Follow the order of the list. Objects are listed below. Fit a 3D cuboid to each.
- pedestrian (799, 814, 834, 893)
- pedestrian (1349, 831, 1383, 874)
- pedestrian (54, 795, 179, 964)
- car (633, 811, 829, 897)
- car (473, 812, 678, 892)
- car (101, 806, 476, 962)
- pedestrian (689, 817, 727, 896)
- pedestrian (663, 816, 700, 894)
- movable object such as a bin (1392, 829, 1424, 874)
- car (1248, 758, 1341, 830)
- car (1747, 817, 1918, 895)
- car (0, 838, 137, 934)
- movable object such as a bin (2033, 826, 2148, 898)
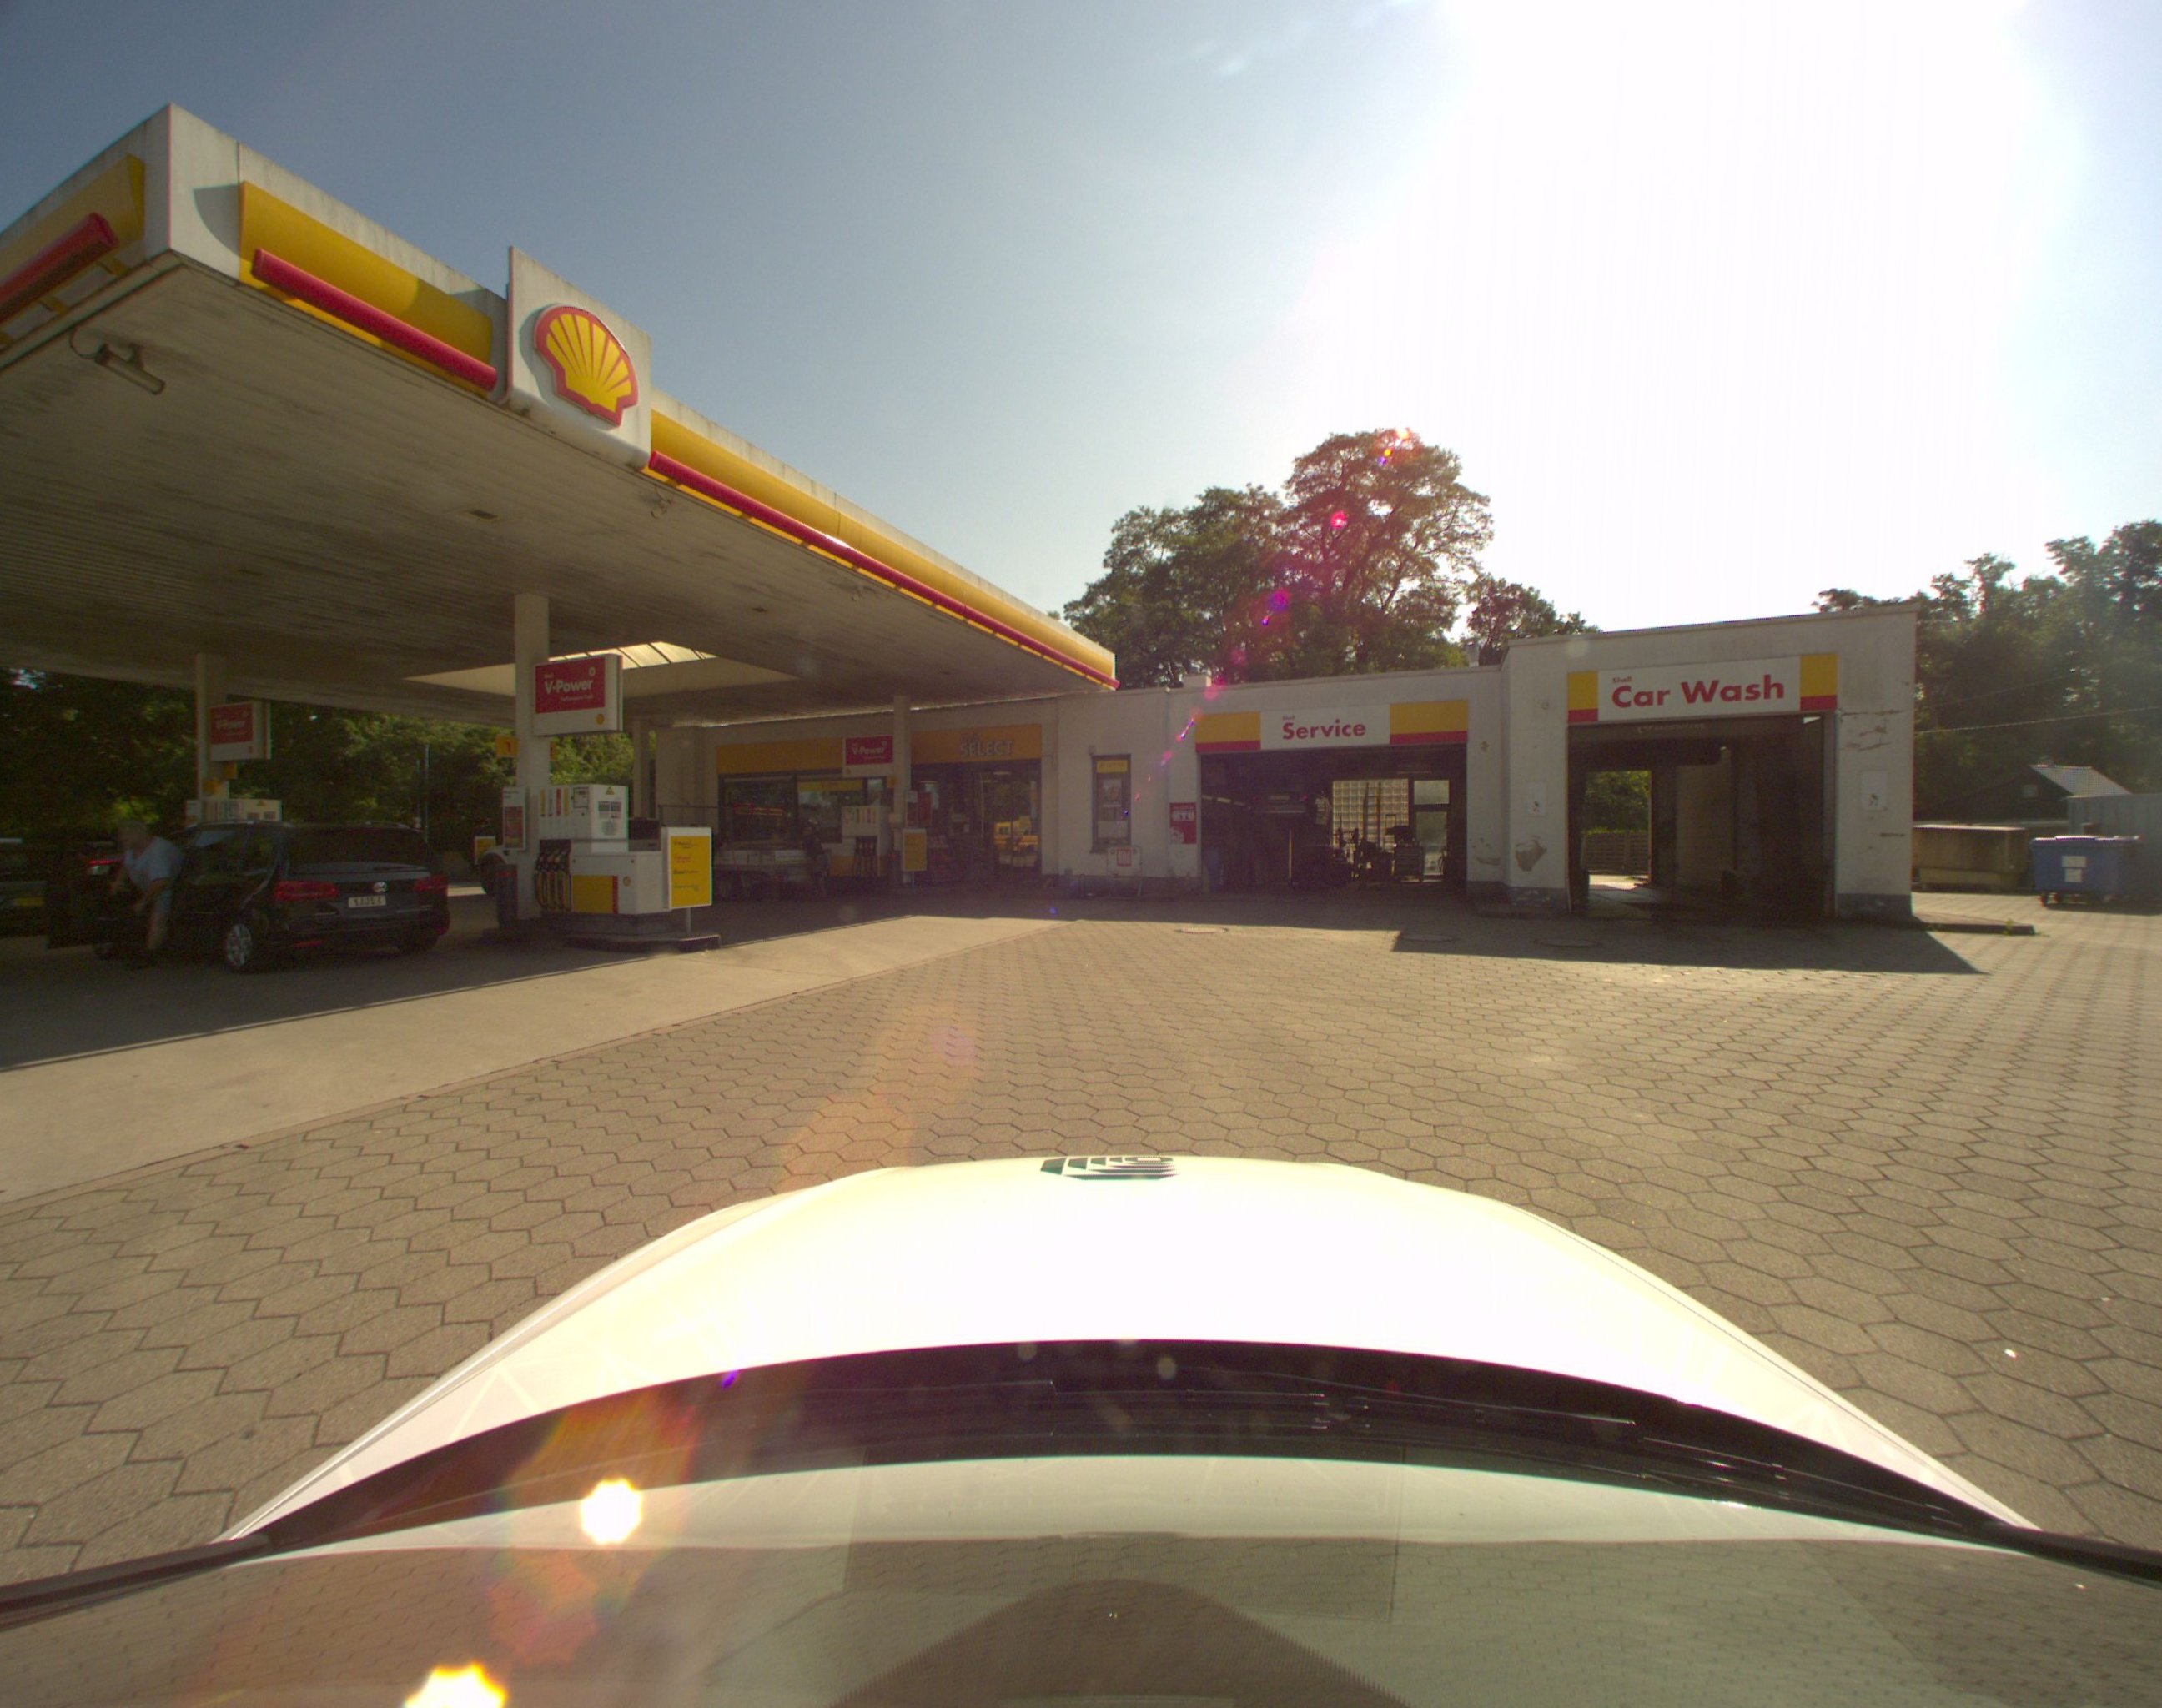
[{"bbox_3d":[-5.650,-0.014,17.388,0.494,1.668,0.478,0,1,25],"label":"pedestrian"},{"bbox_3d":[8.060,-0.041,23.024,0.855,1.198,0.747,-1,-1,22],"label":"pedestrian"},{"bbox_3d":[-10.408,0.253,8.798,0.802,1.729,0.678,0,1,27],"label":"pedestrian"},{"bbox_3d":[-7.768,-0.005,18.068,3.950,1.728,1.845,-1,1,27],"label":"car"},{"bbox_3d":[-12.620,-0.054,20.335,4.723,1.837,1.867,0,1,22],"label":"car"},{"bbox_3d":[-9.449,0.287,9.740,3.831,1.578,1.775,0,1,22],"label":"car"},{"bbox_3d":[-7.713,0.048,16.857,0.470,1.593,0.504,0,1,27],"label":"pedestrian"},{"bbox_3d":[-8.474,0.016,17.300,0.470,1.631,0.504,0,1,27],"label":"pedestrian"},{"bbox_3d":[9.159,-0.053,22.835,0.789,1.236,0.547,-1,-1,25],"label":"movable object such as a bin"},{"bbox_3d":[5.661,-1.476,21.265,1.631,1.486,4.023,-1,-1,25],"label":"car"},{"bbox_3d":[16.668,0.077,18.282,1.706,1.575,3.410,-1,-1,22],"label":"car"},{"bbox_3d":[-16.970,0.450,12.823,3.800,1.360,1.814,0,1,26],"label":"car"},{"bbox_3d":[19.593,0.134,15.823,0.850,1.325,1.226,-1,1,-23],"label":"movable object such as a bin"}]
